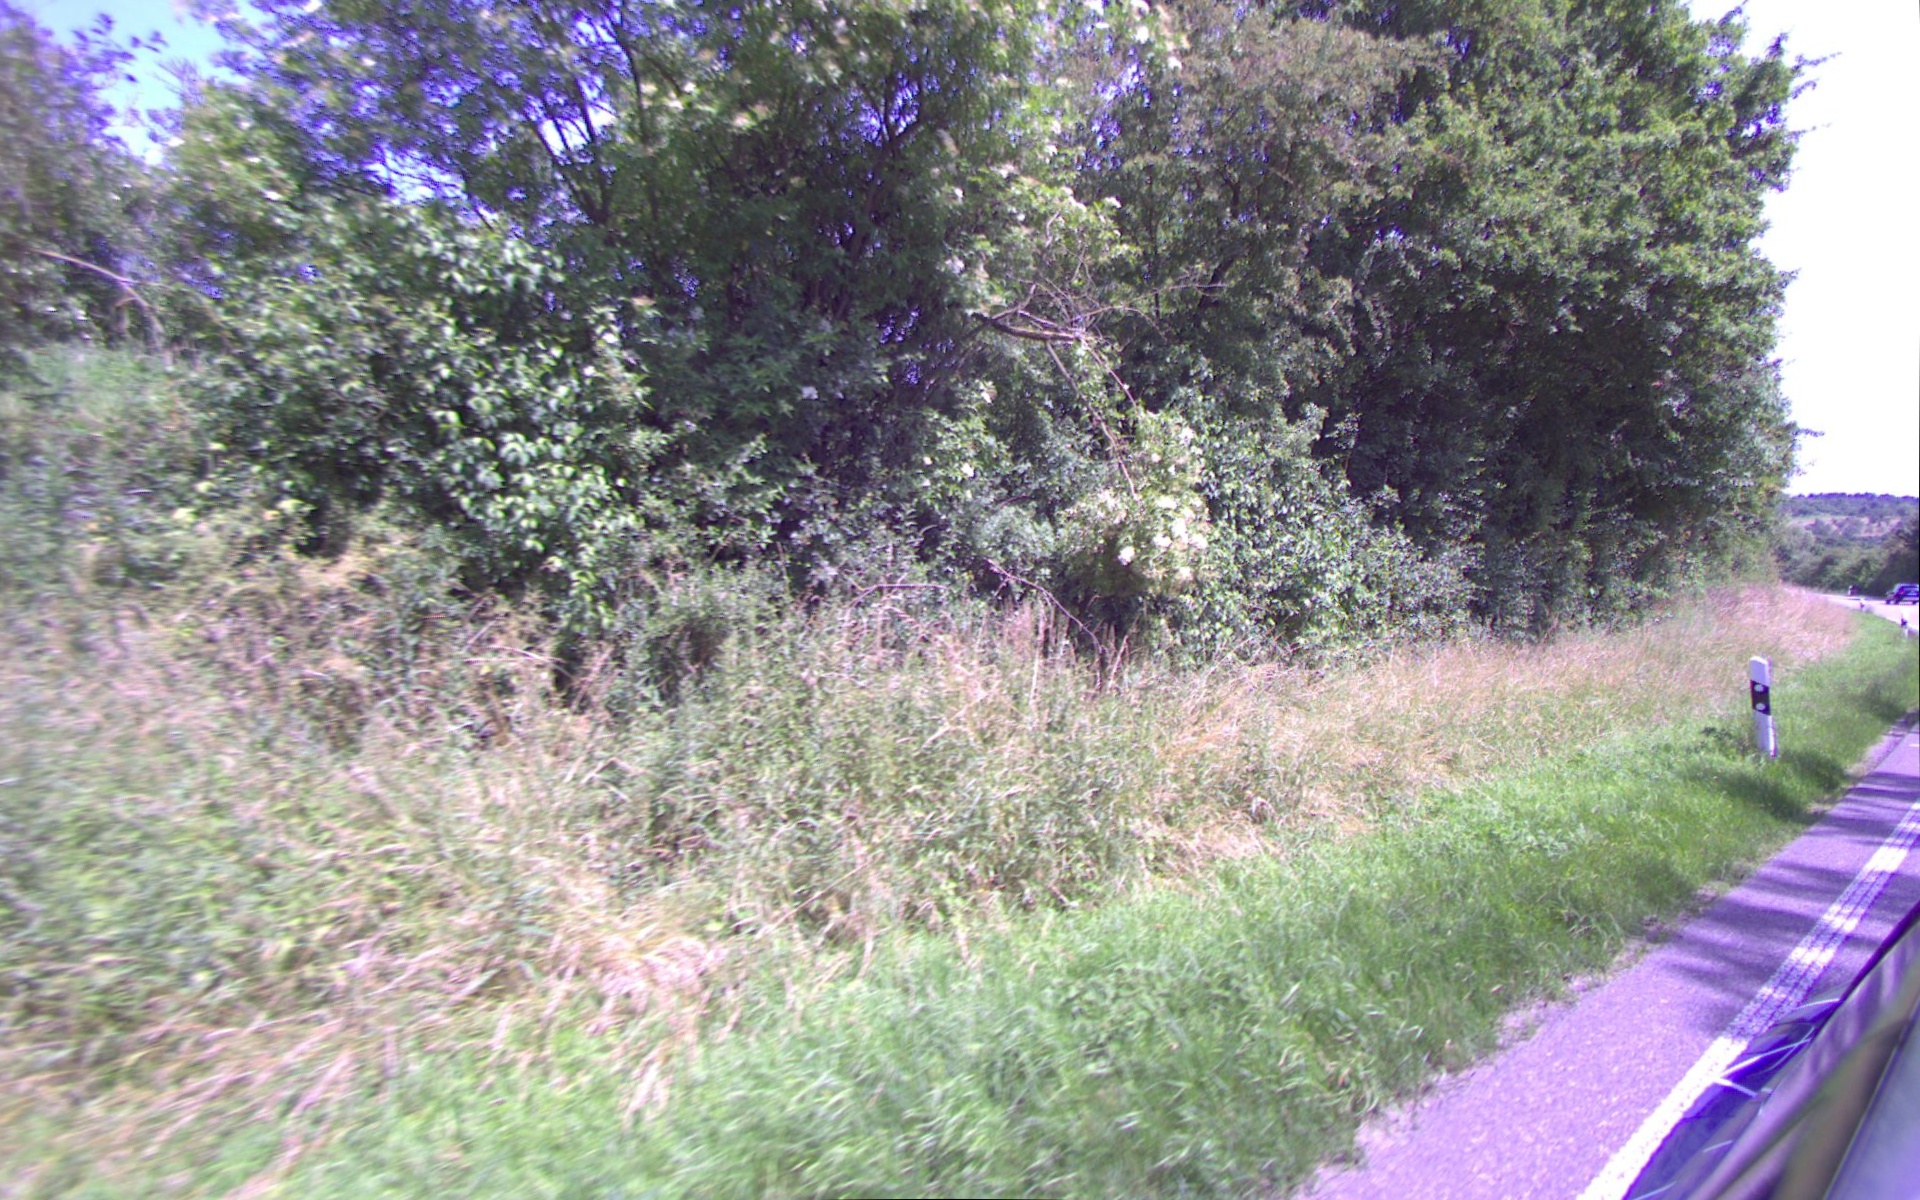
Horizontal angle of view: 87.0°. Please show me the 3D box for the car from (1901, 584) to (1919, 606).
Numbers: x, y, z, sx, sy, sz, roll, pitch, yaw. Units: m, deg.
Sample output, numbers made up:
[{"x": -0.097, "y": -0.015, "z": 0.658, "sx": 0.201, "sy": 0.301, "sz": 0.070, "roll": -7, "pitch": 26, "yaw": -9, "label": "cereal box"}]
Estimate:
[{"x": 70.876, "y": -0.351, "z": 74.667, "sx": 1.666, "sy": 1.550, "sz": 3.905, "roll": 1, "pitch": 1, "yaw": 37, "label": "car"}]

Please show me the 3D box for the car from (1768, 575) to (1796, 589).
[{"x": 94.120, "y": -2.045, "z": 115.869, "sx": 1.700, "sy": 1.489, "sz": 4.332, "roll": 1, "pitch": 2, "yaw": 29, "label": "car"}]
